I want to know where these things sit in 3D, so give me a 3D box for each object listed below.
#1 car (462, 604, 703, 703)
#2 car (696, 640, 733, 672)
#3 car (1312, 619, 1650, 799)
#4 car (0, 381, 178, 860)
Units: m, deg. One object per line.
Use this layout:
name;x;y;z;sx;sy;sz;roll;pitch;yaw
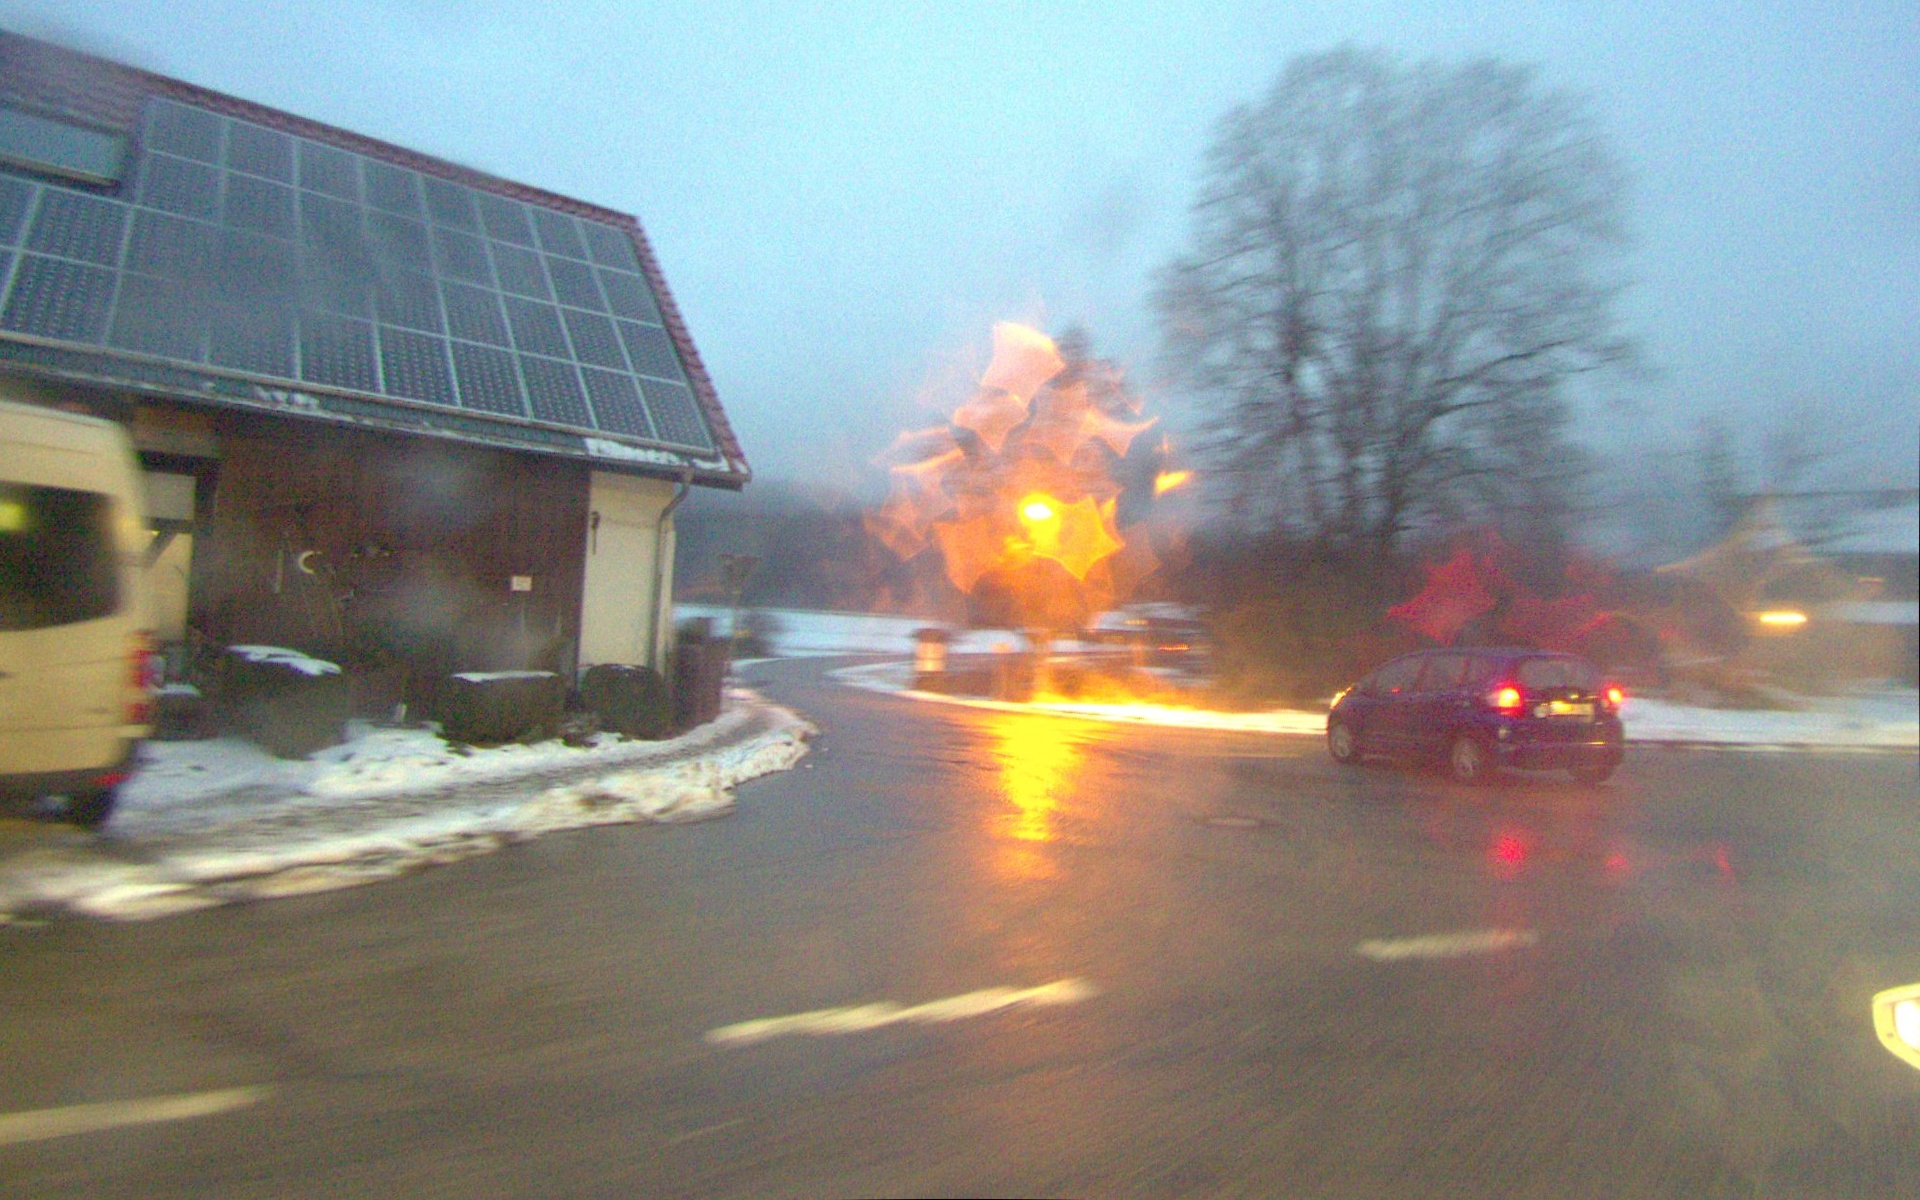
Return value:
car;-9.135;1.399;24.638;5.201;2.039;2.205;4;-6;-21
car;-13.315;3.000;54.330;1.696;1.554;3.505;4;-3;-16
car;6.014;1.205;12.097;1.796;1.820;3.571;2;-3;-11
car;-7.585;-0.112;7.249;6.028;2.586;1.990;6;0;43
